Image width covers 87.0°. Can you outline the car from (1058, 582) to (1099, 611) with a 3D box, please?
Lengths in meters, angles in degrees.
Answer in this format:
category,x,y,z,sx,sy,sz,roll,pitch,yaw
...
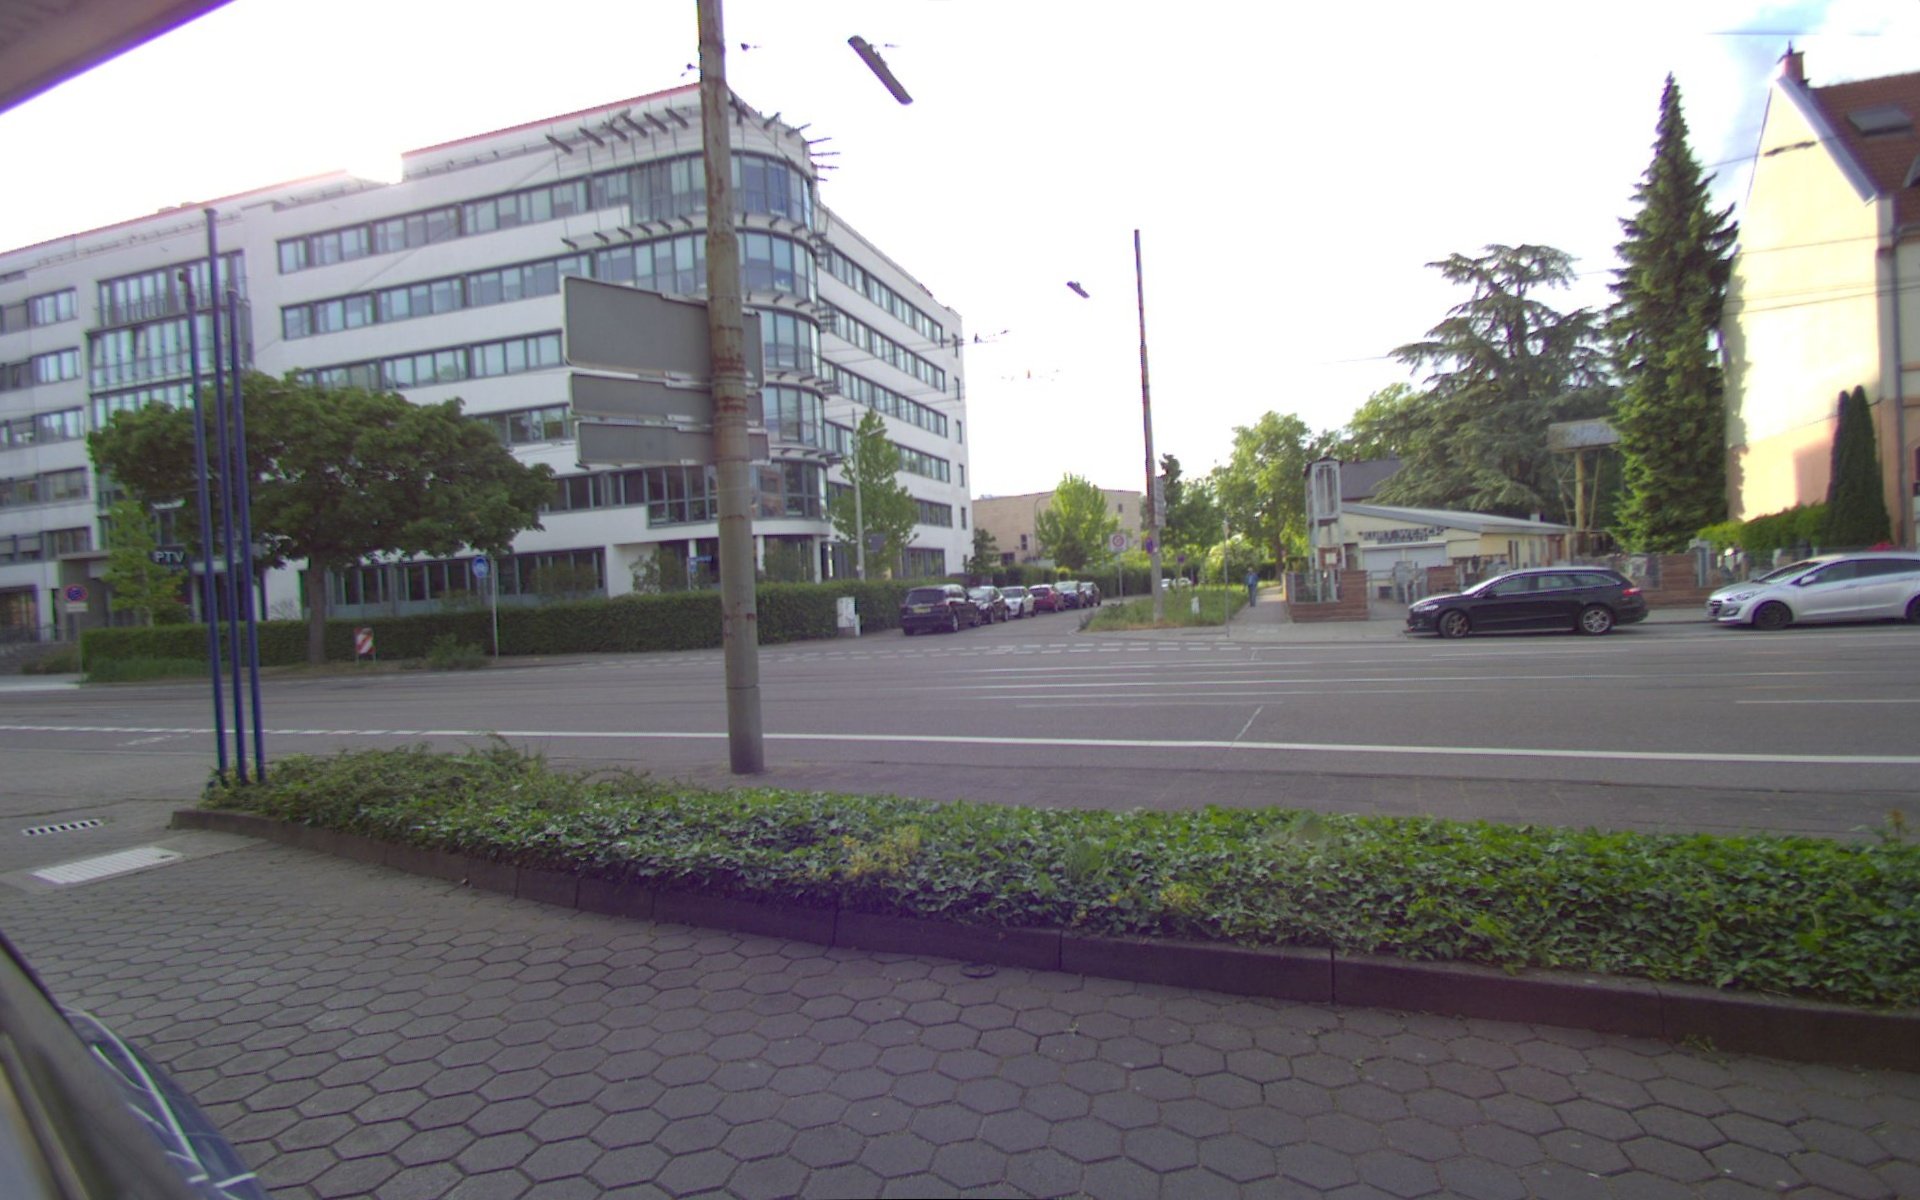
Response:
category,x,y,z,sx,sy,sz,roll,pitch,yaw
car,7.378,-0.240,62.666,1.773,1.653,4.064,-4,0,17

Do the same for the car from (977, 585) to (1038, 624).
category,x,y,z,sx,sy,sz,roll,pitch,yaw
car,2.212,0.171,45.750,1.773,1.565,4.083,-4,0,17

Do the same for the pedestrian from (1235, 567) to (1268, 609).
category,x,y,z,sx,sy,sz,roll,pitch,yaw
pedestrian,12.901,-0.520,44.794,1.091,1.843,0.992,-1,0,40

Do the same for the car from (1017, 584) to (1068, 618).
category,x,y,z,sx,sy,sz,roll,pitch,yaw
car,4.293,0.017,52.355,1.773,1.552,4.018,-4,0,17

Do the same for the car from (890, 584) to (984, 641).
category,x,y,z,sx,sy,sz,roll,pitch,yaw
car,-0.715,0.378,35.531,1.962,1.625,4.411,-4,2,17

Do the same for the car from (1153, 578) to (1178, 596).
category,x,y,z,sx,sy,sz,roll,pitch,yaw
car,20.429,-1.282,100.609,1.774,1.653,4.060,-4,0,19

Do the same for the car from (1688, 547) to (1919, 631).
category,x,y,z,sx,sy,sz,roll,pitch,yaw
car,18.500,-0.258,21.493,4.459,1.486,1.986,-4,0,22

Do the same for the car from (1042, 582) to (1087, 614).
category,x,y,z,sx,sy,sz,roll,pitch,yaw
car,5.987,-0.142,57.656,1.773,1.653,4.064,-4,0,17

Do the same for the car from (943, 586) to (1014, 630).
category,x,y,z,sx,sy,sz,roll,pitch,yaw
car,0.805,0.285,40.888,1.773,1.565,4.083,-4,0,17

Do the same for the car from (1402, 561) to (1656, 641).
category,x,y,z,sx,sy,sz,roll,pitch,yaw
car,12.924,0.042,23.410,4.791,1.507,1.986,-3,0,22

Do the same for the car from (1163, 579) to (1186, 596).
category,x,y,z,sx,sy,sz,roll,pitch,yaw
car,22.567,-1.311,106.307,1.774,1.653,4.060,-4,0,19
